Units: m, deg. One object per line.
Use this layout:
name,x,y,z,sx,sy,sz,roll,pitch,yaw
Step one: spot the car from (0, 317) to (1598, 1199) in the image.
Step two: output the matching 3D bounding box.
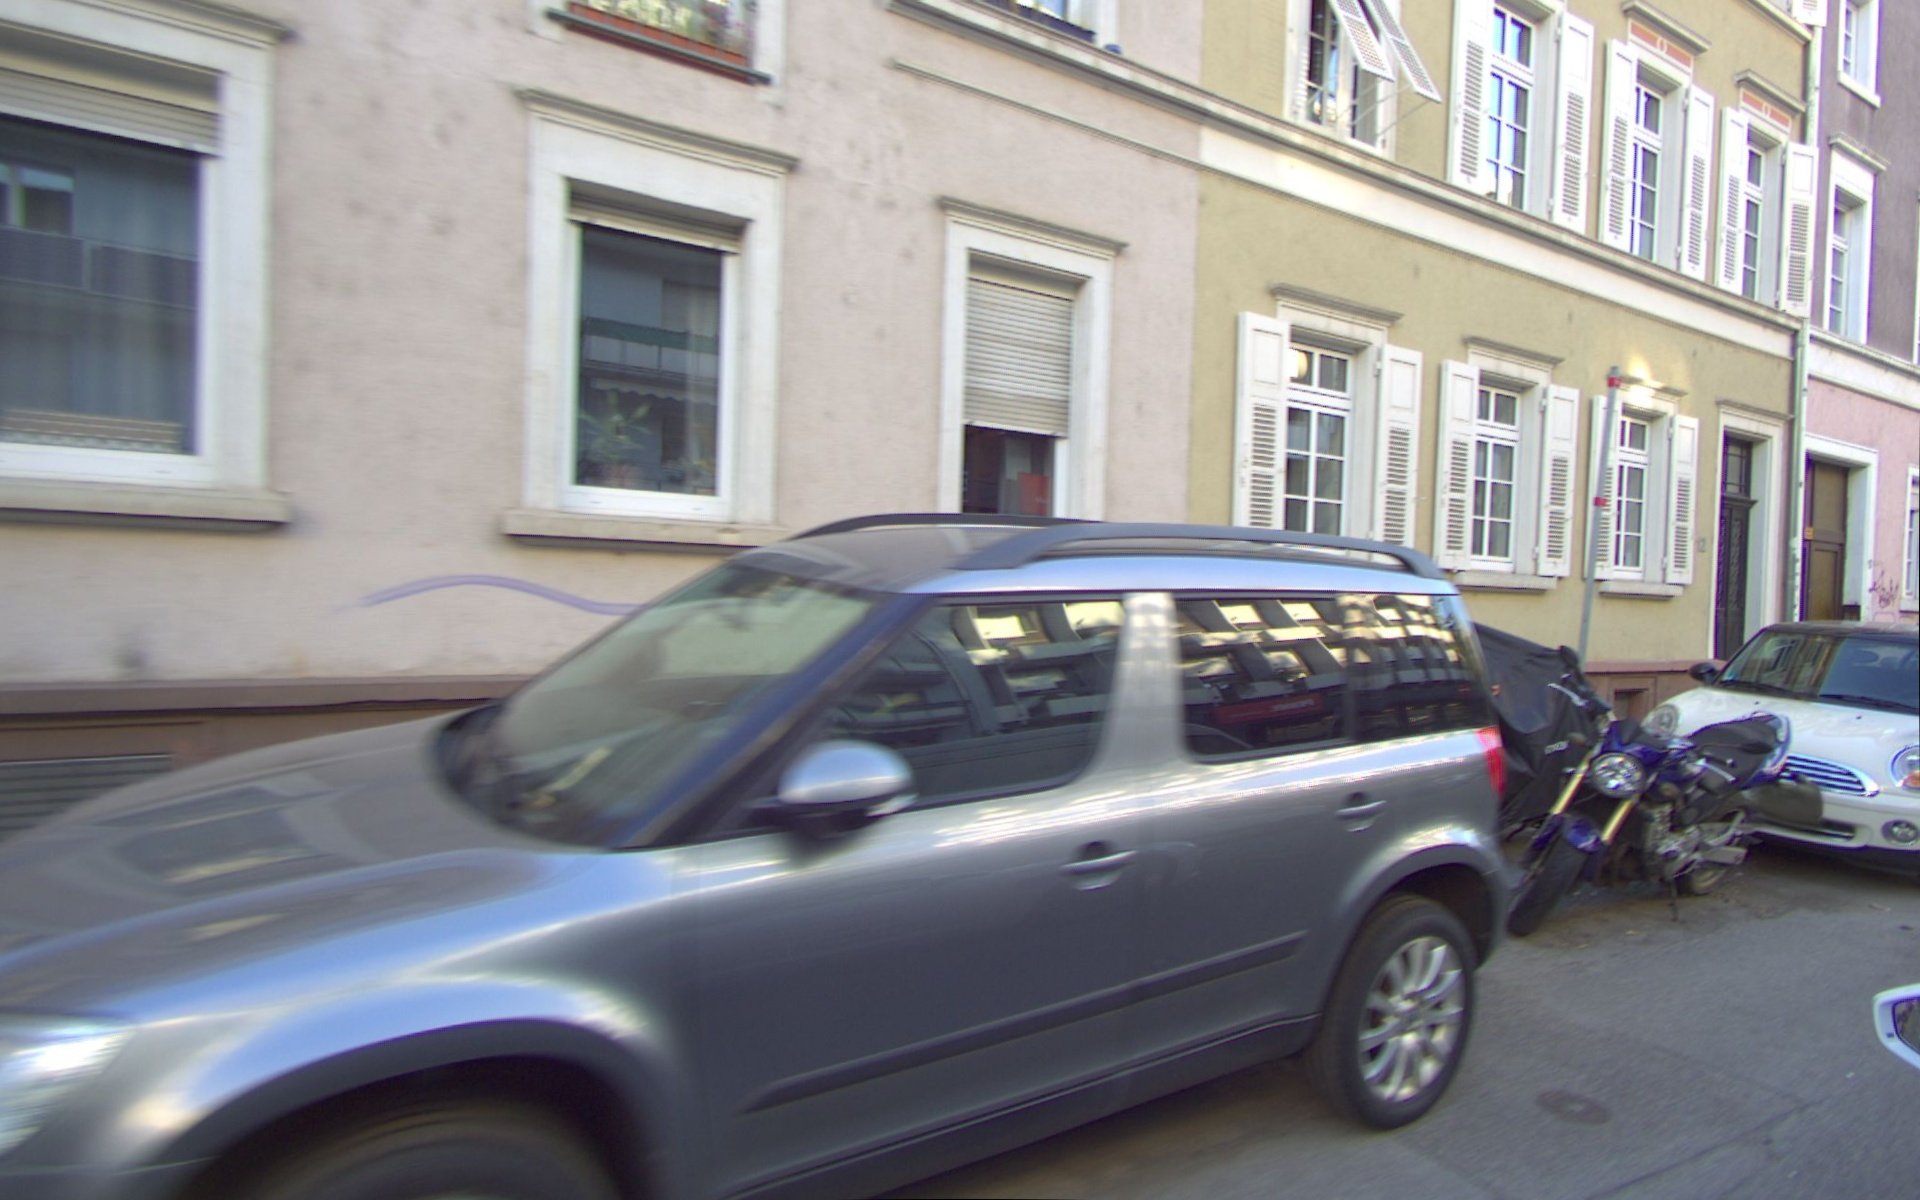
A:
car,-0.251,0.546,2.913,4.245,1.774,1.853,1,1,-32

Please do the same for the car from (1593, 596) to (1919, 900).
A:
car,6.125,0.792,6.831,3.816,1.517,1.699,1,1,-35

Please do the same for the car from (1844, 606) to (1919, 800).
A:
car,9.069,0.877,8.569,2.714,1.552,1.380,1,1,-28

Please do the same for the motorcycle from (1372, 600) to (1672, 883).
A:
motorcycle,3.289,0.728,5.829,1.829,1.408,0.701,1,1,-33

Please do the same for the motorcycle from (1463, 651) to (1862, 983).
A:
motorcycle,3.533,0.913,4.953,2.448,1.251,0.706,1,1,-33
